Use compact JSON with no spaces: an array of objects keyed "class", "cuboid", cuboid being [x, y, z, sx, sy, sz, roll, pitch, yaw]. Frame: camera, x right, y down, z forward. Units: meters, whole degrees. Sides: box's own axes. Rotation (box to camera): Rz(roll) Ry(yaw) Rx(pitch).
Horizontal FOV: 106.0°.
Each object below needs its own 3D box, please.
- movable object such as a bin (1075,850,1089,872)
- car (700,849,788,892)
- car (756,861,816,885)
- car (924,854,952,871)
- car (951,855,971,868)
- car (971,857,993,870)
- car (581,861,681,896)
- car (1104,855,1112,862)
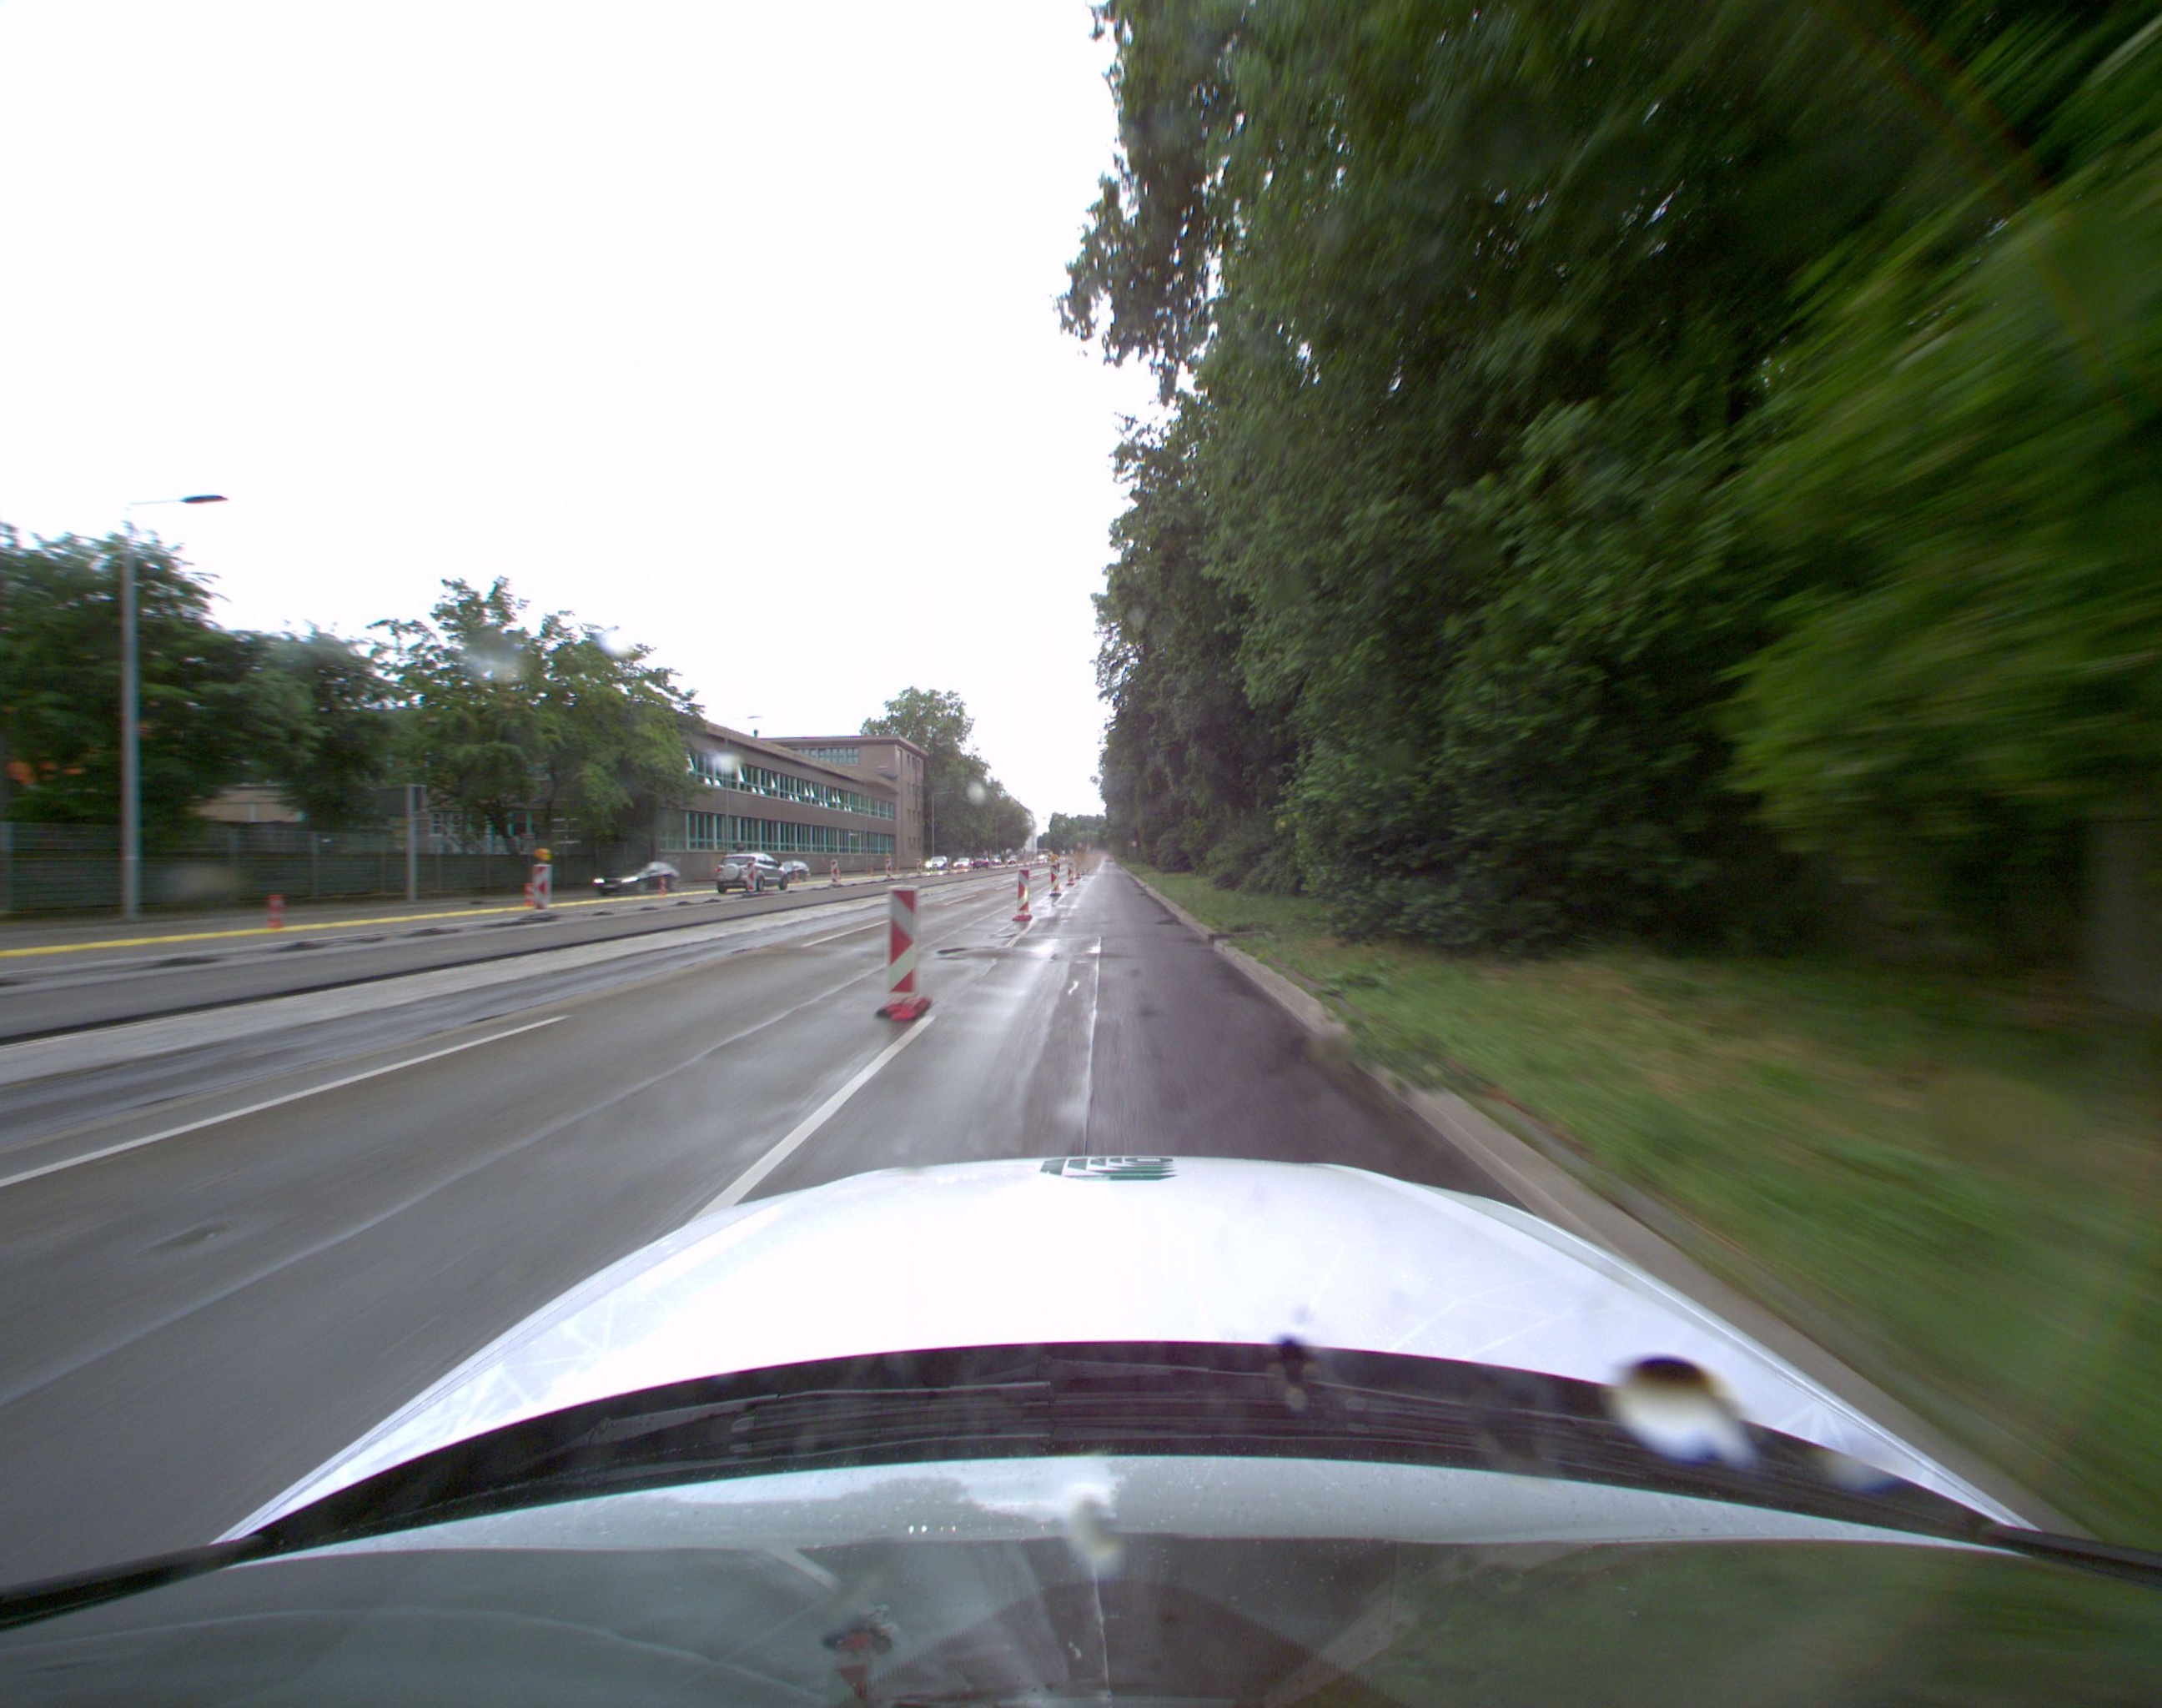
[{"class":"movable object such as a bin","cuboid":[0.130,1.142,128.852,1.986,3.367,5.984,0,-1,2]},{"class":"car","cuboid":[-13.898,0.671,33.858,1.848,1.648,4.001,0,-1,2]},{"class":"car","cuboid":[-19.116,1.219,53.021,2.038,1.454,4.766,0,-1,2]},{"class":"car","cuboid":[-15.545,0.920,88.811,1.980,1.768,4.678,0,-1,3]},{"class":"car","cuboid":[-15.125,0.925,102.971,1.797,1.534,3.993,0,-1,2]},{"class":"car","cuboid":[-11.735,1.153,97.090,1.986,1.519,4.001,0,-1,1]},{"class":"car","cuboid":[-19.677,1.017,35.824,1.987,1.429,4.265,0,0,1]},{"class":"car","cuboid":[6.947,1.109,205.951,1.986,1.673,4.002,0,-1,2]}]
